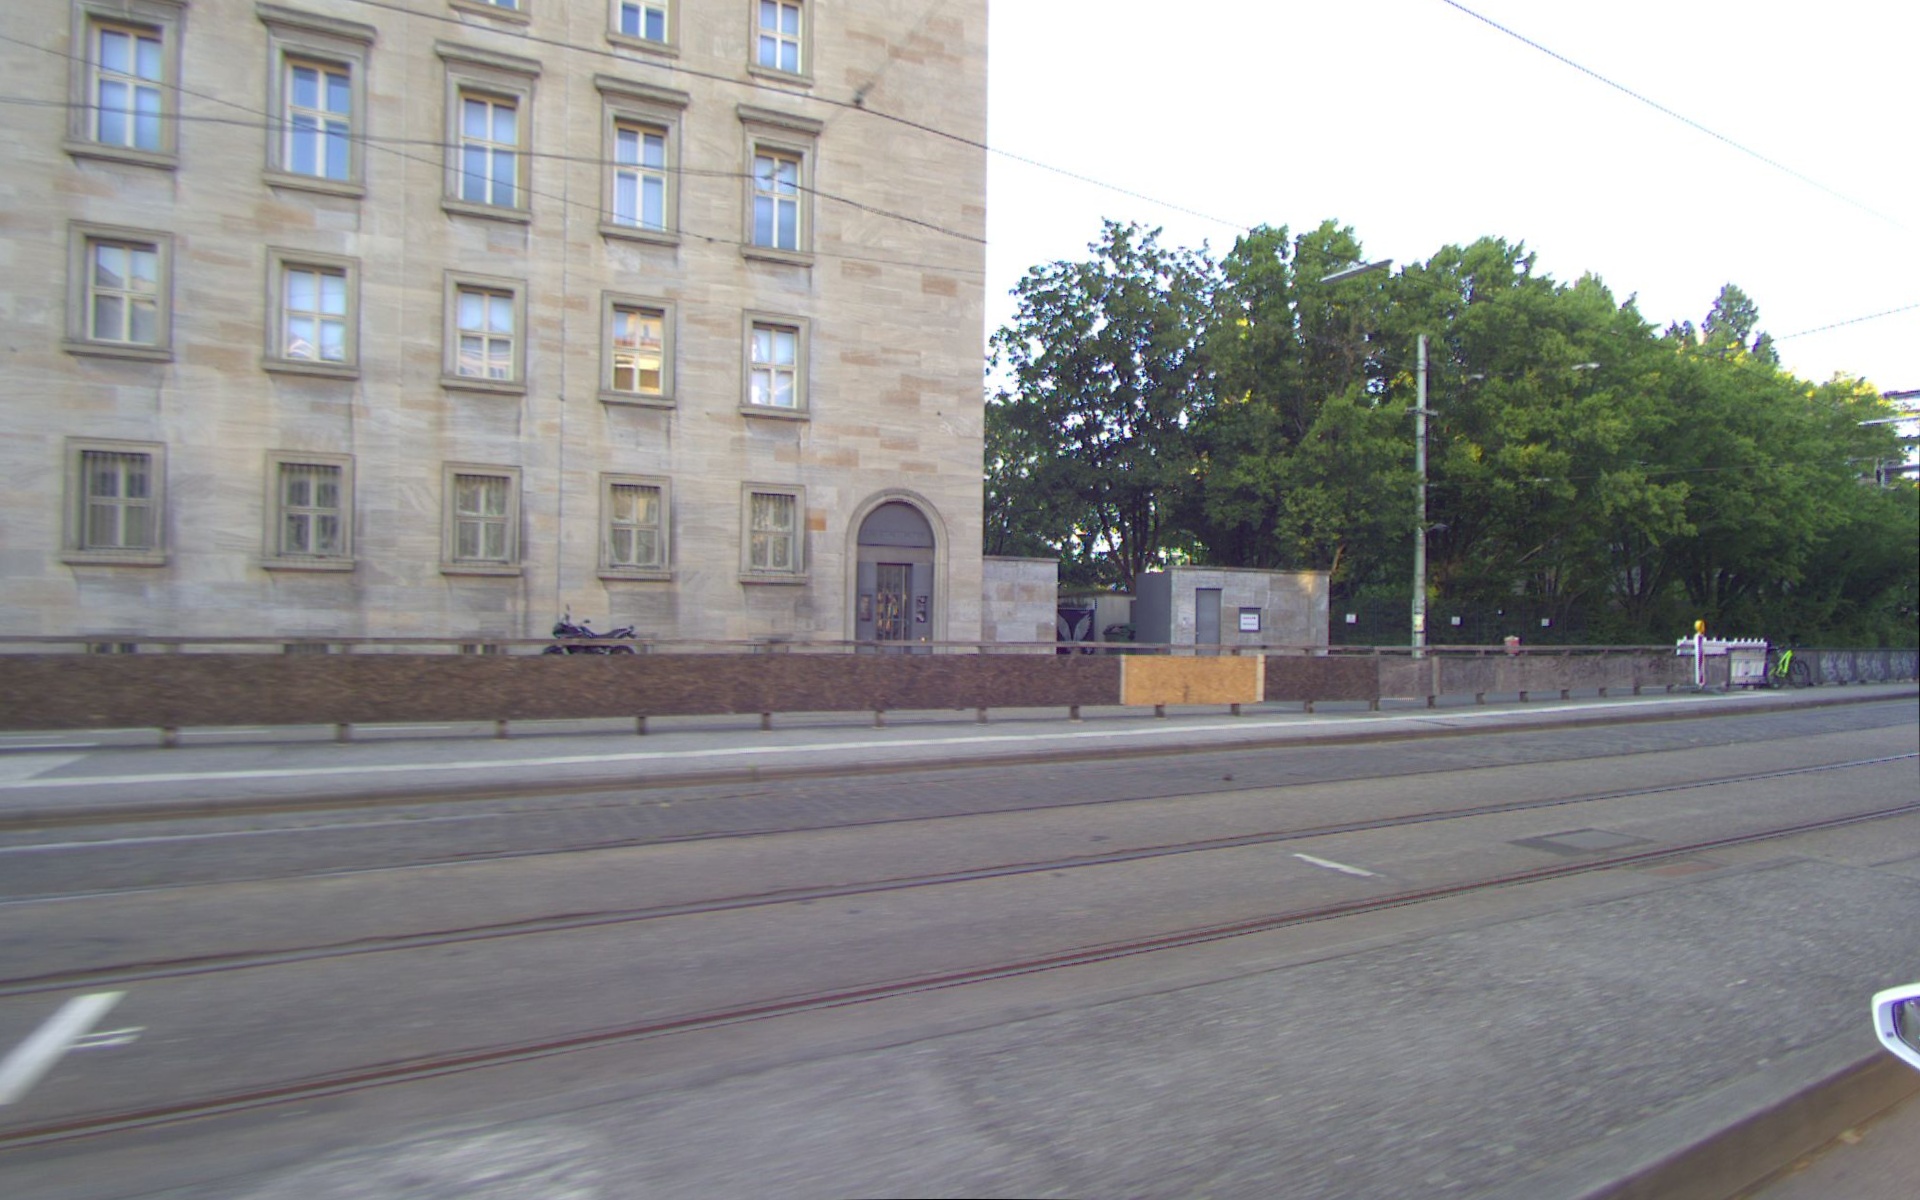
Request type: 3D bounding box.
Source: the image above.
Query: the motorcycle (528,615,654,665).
[{"bbox_3d":[-8.314,0.912,22.675,2.615,1.089,0.697,1,-2,-22],"label":"motorcycle"}]

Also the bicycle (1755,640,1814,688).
[{"bbox_3d":[19.641,1.511,23.921,1.999,1.089,0.460,1,-1,-31],"label":"bicycle"}]
